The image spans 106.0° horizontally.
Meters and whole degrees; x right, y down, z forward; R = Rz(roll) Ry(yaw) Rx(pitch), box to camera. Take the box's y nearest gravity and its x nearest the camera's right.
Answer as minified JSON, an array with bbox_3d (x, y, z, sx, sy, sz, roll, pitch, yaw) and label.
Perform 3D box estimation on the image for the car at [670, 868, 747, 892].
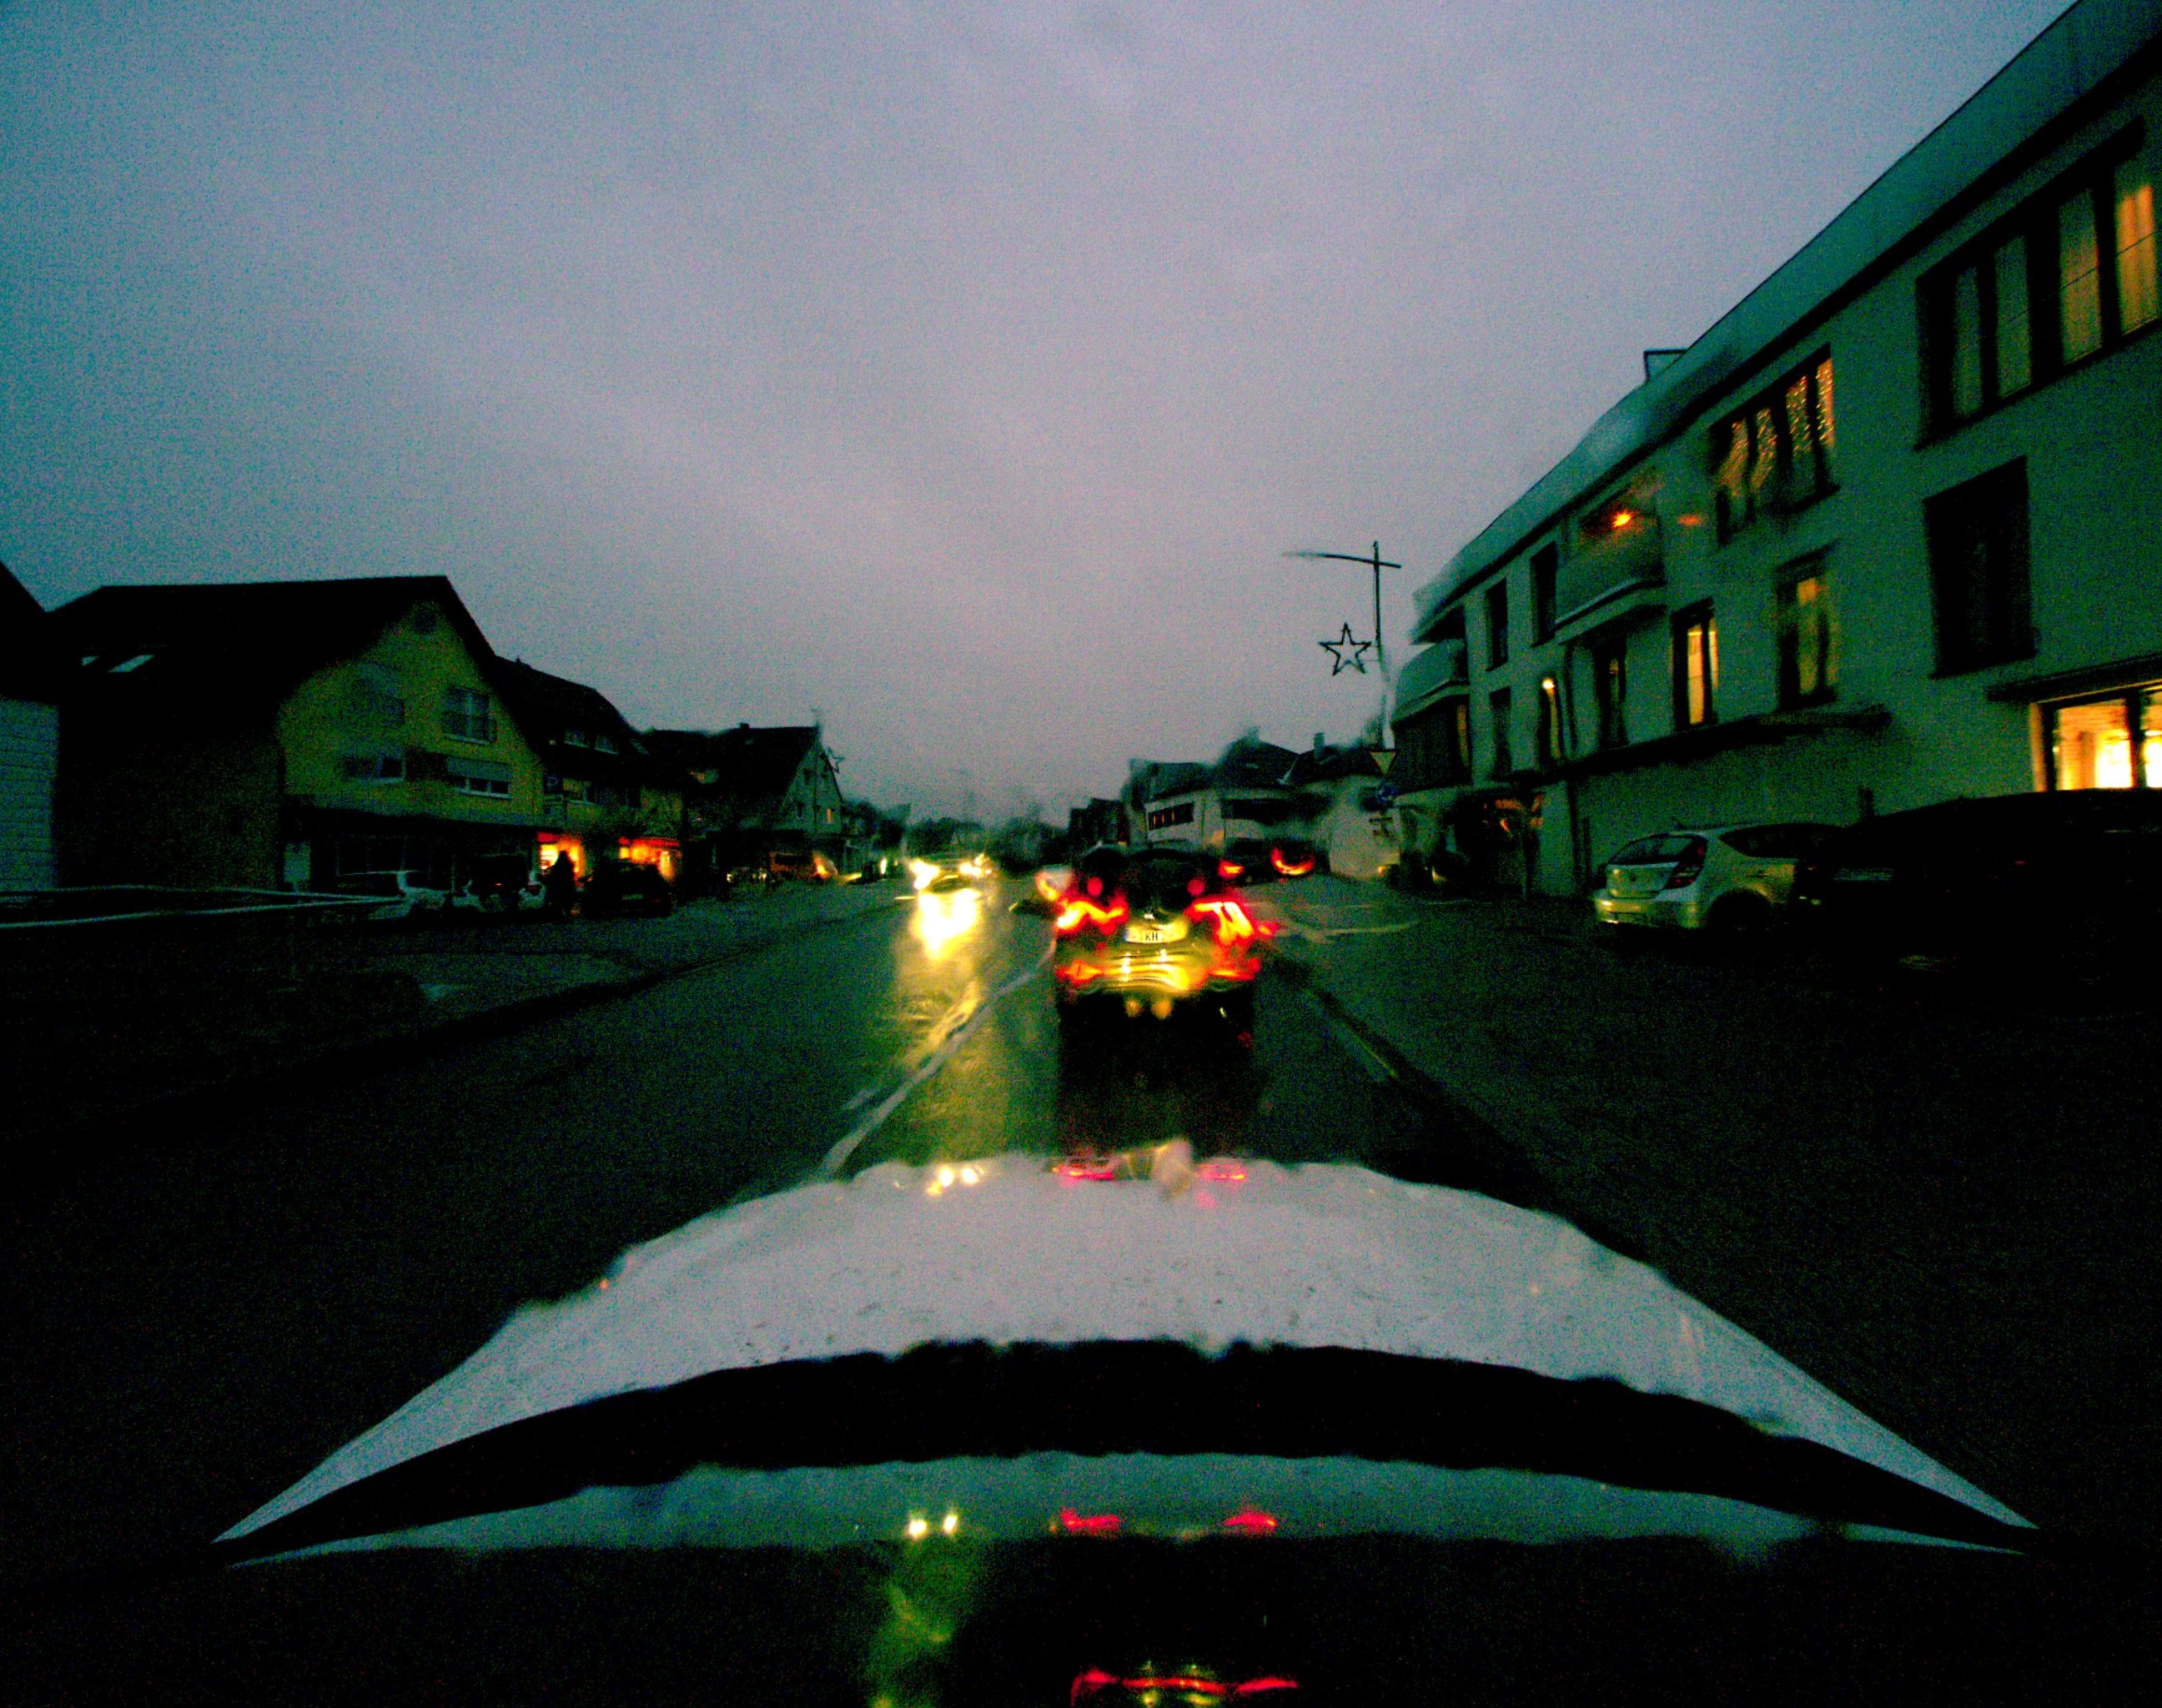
[{"bbox_3d":[-23.310,1.625,51.097,3.977,1.365,1.726,-2,0,-2],"label":"car"}]

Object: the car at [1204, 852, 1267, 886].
[{"bbox_3d":[7.141,0.674,37.296,1.976,1.391,4.022,-2,0,23],"label":"car"}]

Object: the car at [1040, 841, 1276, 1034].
[{"bbox_3d":[0.724,0.690,8.939,1.957,1.594,4.315,0,0,2],"label":"car"}]

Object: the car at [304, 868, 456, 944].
[{"bbox_3d":[-17.387,1.205,20.441,1.831,1.613,4.022,-1,0,-25],"label":"car"}]

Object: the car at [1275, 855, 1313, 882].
[{"bbox_3d":[12.281,0.816,47.162,1.980,1.418,4.014,-3,-1,13],"label":"car"}]

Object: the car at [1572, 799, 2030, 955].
[{"bbox_3d":[8.729,0.253,10.102,4.198,1.460,1.790,-4,-1,-5],"label":"car"}]

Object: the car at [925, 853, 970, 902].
[{"bbox_3d":[-6.437,1.105,39.134,1.994,2.204,4.401,1,-1,-10],"label":"car"}]

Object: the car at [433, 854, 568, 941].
[{"bbox_3d":[-14.482,1.003,20.592,2.048,1.925,4.022,-1,0,-25],"label":"car"}]

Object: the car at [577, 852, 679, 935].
[{"bbox_3d":[-11.881,0.950,21.597,2.048,1.925,4.022,-1,0,-25],"label":"car"}]

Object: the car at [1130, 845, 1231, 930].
[{"bbox_3d":[1.842,0.579,16.105,1.676,1.453,4.002,0,0,2],"label":"car"}]

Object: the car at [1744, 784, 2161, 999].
[{"bbox_3d":[8.476,0.191,6.983,4.198,1.460,1.790,-4,-1,-5],"label":"car"}]

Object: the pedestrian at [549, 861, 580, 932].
[{"bbox_3d":[-12.886,1.038,20.318,0.498,1.701,0.707,-3,0,-25],"label":"pedestrian"}]

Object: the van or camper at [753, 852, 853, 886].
[{"bbox_3d":[-16.951,0.905,49.671,5.489,1.954,2.008,-2,0,15],"label":"van or camper"}]

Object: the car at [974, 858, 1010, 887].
[{"bbox_3d":[-6.331,1.378,58.459,1.986,2.014,4.001,1,-2,2],"label":"car"}]
